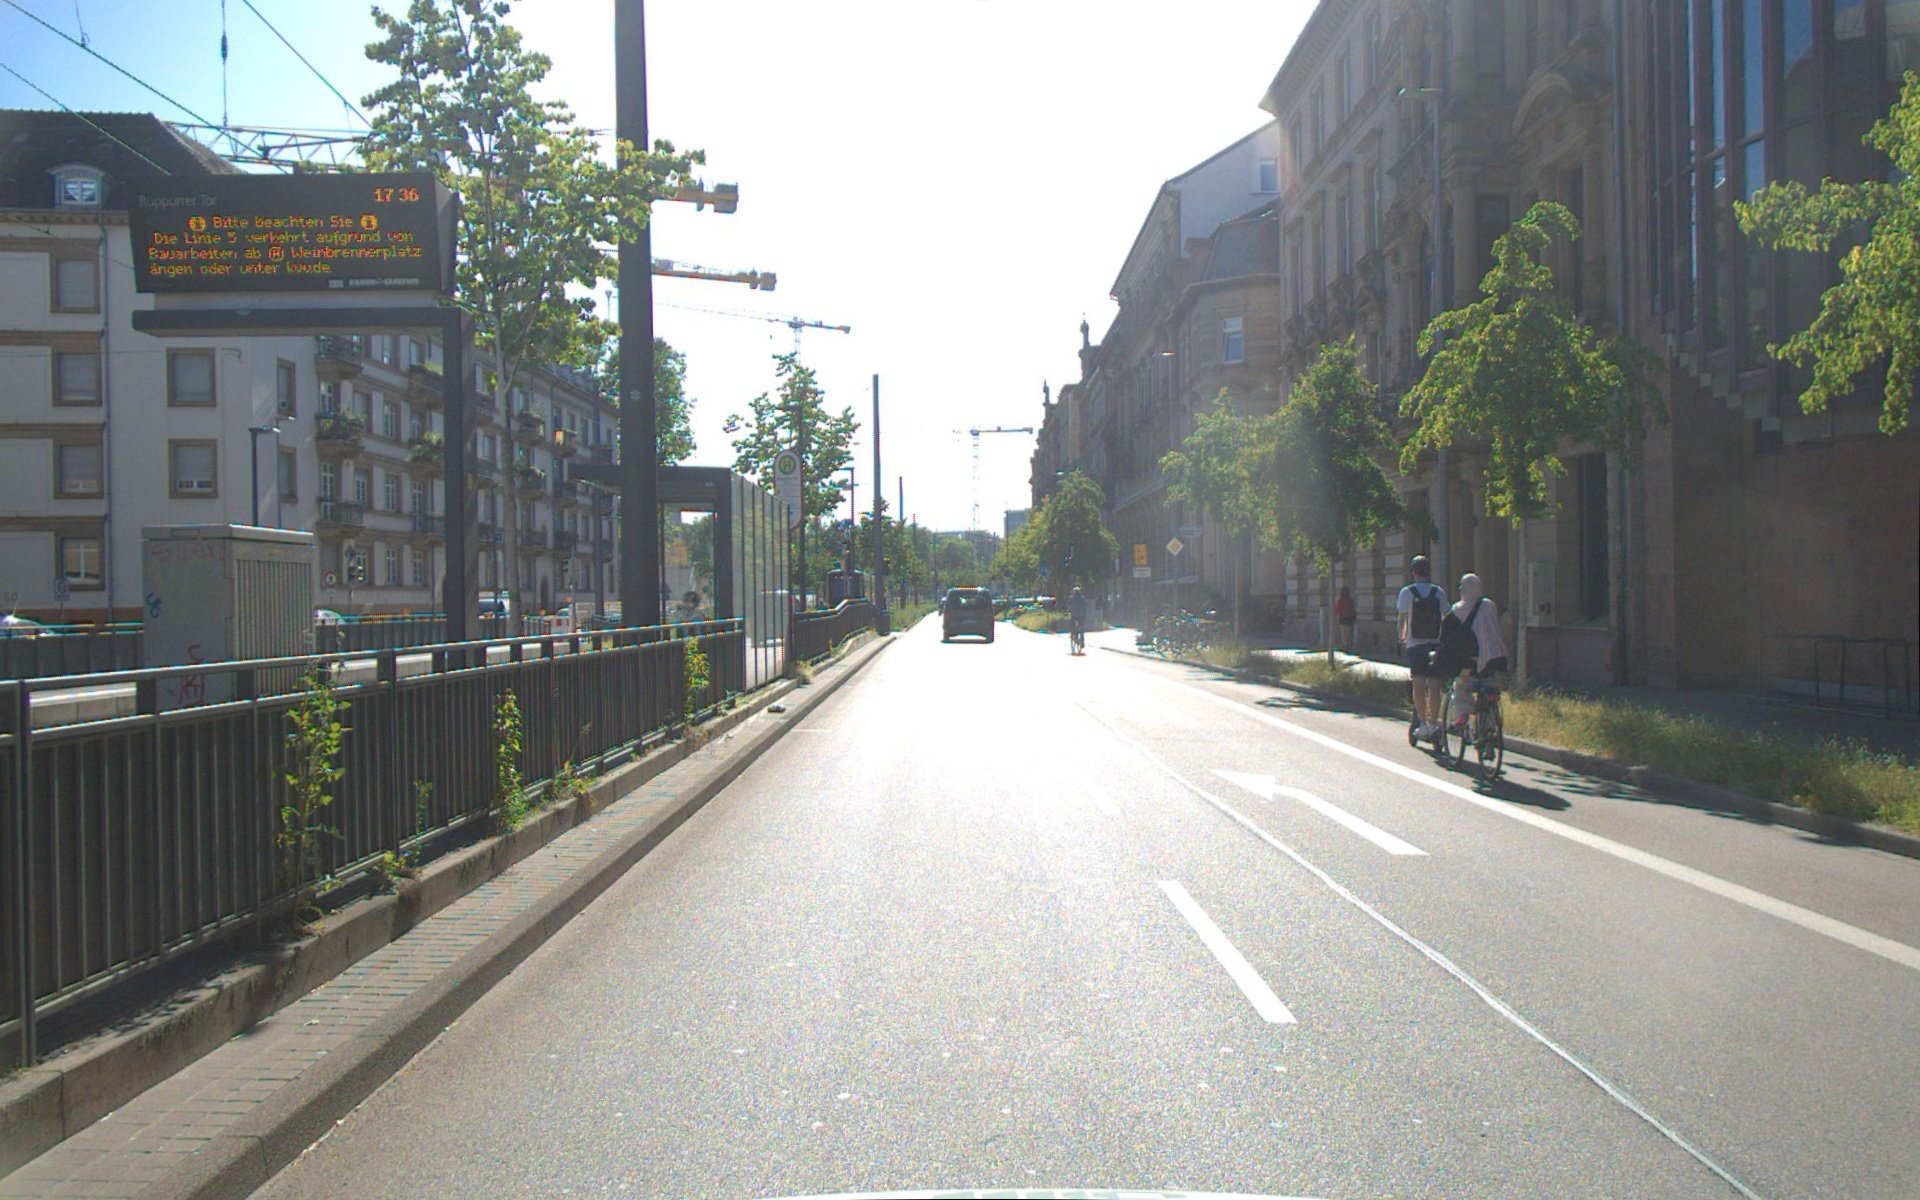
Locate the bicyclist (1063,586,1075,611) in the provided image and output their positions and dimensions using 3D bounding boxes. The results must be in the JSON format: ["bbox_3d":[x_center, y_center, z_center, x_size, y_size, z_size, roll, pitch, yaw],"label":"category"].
[{"bbox_3d":[7.194,-0.113,109.276,0.653,1.668,0.960,-1,0,-1],"label":"bicyclist"}]

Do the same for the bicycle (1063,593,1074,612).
[{"bbox_3d":[7.171,0.132,109.581,0.571,1.244,1.900,-1,0,-1],"label":"bicycle"}]

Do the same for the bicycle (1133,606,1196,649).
[{"bbox_3d":[5.835,0.787,47.293,1.688,1.120,0.607,-4,0,2],"label":"bicycle"}]

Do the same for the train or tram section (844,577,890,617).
[{"bbox_3d":[-6.751,-0.179,121.149,2.699,2.791,9.863,0,-1,1],"label":"train or tram section"}]

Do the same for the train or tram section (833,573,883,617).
[{"bbox_3d":[-6.788,-0.293,111.302,2.699,2.791,9.863,0,-1,1],"label":"train or tram section"}]

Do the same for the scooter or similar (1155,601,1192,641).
[{"bbox_3d":[6.565,0.642,50.859,1.087,1.210,0.419,-2,0,6],"label":"scooter or similar"}]

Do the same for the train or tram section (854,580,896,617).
[{"bbox_3d":[-6.698,-0.065,131.017,2.699,2.791,9.863,0,-1,1],"label":"train or tram section"}]

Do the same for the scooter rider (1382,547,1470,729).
[{"bbox_3d":[4.972,0.394,17.699,0.653,1.893,0.901,1,0,-1],"label":"scooter rider"}]

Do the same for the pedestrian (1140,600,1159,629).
[{"bbox_3d":[8.098,0.633,70.654,0.691,1.198,0.635,-3,0,-1],"label":"pedestrian"}]

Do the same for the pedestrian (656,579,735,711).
[{"bbox_3d":[-3.205,0.539,20.095,0.796,1.563,0.798,-1,0,1],"label":"pedestrian"}]

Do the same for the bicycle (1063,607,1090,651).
[{"bbox_3d":[3.325,0.810,47.198,0.589,1.201,1.869,1,0,-1],"label":"bicycle"}]

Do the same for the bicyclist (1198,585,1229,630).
[{"bbox_3d":[9.183,0.269,59.950,0.654,1.556,0.792,-5,0,-32],"label":"bicyclist"}]

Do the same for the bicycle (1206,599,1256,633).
[{"bbox_3d":[10.107,0.601,61.721,1.779,1.191,0.654,-1,3,3],"label":"bicycle"}]

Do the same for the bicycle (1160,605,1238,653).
[{"bbox_3d":[6.416,0.766,44.436,1.954,1.148,0.710,-4,0,0],"label":"bicycle"}]

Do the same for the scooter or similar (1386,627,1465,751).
[{"bbox_3d":[4.957,0.927,17.656,0.481,1.248,1.170,1,0,-1],"label":"scooter or similar"}]

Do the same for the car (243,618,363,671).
[{"bbox_3d":[-17.367,1.150,43.918,1.660,1.309,3.959,0,-1,-1],"label":"car"}]

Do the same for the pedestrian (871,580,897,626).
[{"bbox_3d":[-3.232,0.115,70.324,1.055,1.942,0.652,-1,0,-7],"label":"pedestrian"}]

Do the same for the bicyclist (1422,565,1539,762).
[{"bbox_3d":[4.750,0.568,15.153,0.763,1.741,0.868,1,0,-1],"label":"bicyclist"}]

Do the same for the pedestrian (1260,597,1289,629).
[{"bbox_3d":[11.978,0.495,62.963,0.833,1.235,0.932,0,0,-8],"label":"pedestrian"}]

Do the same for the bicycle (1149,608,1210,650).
[{"bbox_3d":[6.072,0.800,45.742,1.566,1.063,0.607,-4,0,2],"label":"bicycle"}]

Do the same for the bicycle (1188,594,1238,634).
[{"bbox_3d":[9.160,0.512,59.959,0.609,1.353,1.879,-5,0,-32],"label":"bicycle"}]

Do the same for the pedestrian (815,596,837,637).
[{"bbox_3d":[-5.132,0.645,63.363,0.796,1.563,0.798,0,0,1],"label":"pedestrian"}]

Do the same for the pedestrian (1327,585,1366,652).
[{"bbox_3d":[9.344,0.440,39.998,0.695,1.569,0.927,-1,0,-1],"label":"pedestrian"}]

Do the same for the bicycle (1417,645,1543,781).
[{"bbox_3d":[4.727,0.995,15.145,0.546,1.111,1.792,1,0,-1],"label":"bicycle"}]

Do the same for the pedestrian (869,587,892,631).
[{"bbox_3d":[-3.270,0.363,67.953,0.848,1.819,0.969,0,0,-7],"label":"pedestrian"}]

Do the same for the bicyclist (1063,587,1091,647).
[{"bbox_3d":[3.340,0.486,47.290,0.670,1.702,0.922,1,0,-1],"label":"bicyclist"}]

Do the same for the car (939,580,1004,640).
[{"bbox_3d":[0.354,0.330,57.949,2.155,1.960,4.653,-1,0,-1],"label":"car"}]

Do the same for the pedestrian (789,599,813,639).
[{"bbox_3d":[-6.199,0.728,64.425,0.847,1.563,0.909,0,0,-1],"label":"pedestrian"}]

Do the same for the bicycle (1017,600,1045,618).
[{"bbox_3d":[4.611,0.592,107.711,1.757,1.048,0.527,-5,0,-1],"label":"bicycle"}]

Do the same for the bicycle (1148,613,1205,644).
[{"bbox_3d":[6.386,0.850,48.780,1.635,0.835,0.607,-2,0,6],"label":"bicycle"}]

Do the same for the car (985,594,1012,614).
[{"bbox_3d":[3.042,0.295,131.227,1.987,1.525,4.653,-1,0,-1],"label":"car"}]

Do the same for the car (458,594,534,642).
[{"bbox_3d":[-18.234,0.701,65.145,1.782,1.826,4.089,0,-1,0],"label":"car"}]

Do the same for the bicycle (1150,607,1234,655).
[{"bbox_3d":[6.043,0.789,43.057,1.959,1.111,0.845,-4,0,-11],"label":"bicycle"}]

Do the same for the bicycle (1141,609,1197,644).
[{"bbox_3d":[6.242,0.788,49.444,1.635,0.960,0.607,-2,0,6],"label":"bicycle"}]

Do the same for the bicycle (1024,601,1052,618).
[{"bbox_3d":[5.000,0.587,106.372,1.756,1.048,0.527,-1,0,-1],"label":"bicycle"}]
